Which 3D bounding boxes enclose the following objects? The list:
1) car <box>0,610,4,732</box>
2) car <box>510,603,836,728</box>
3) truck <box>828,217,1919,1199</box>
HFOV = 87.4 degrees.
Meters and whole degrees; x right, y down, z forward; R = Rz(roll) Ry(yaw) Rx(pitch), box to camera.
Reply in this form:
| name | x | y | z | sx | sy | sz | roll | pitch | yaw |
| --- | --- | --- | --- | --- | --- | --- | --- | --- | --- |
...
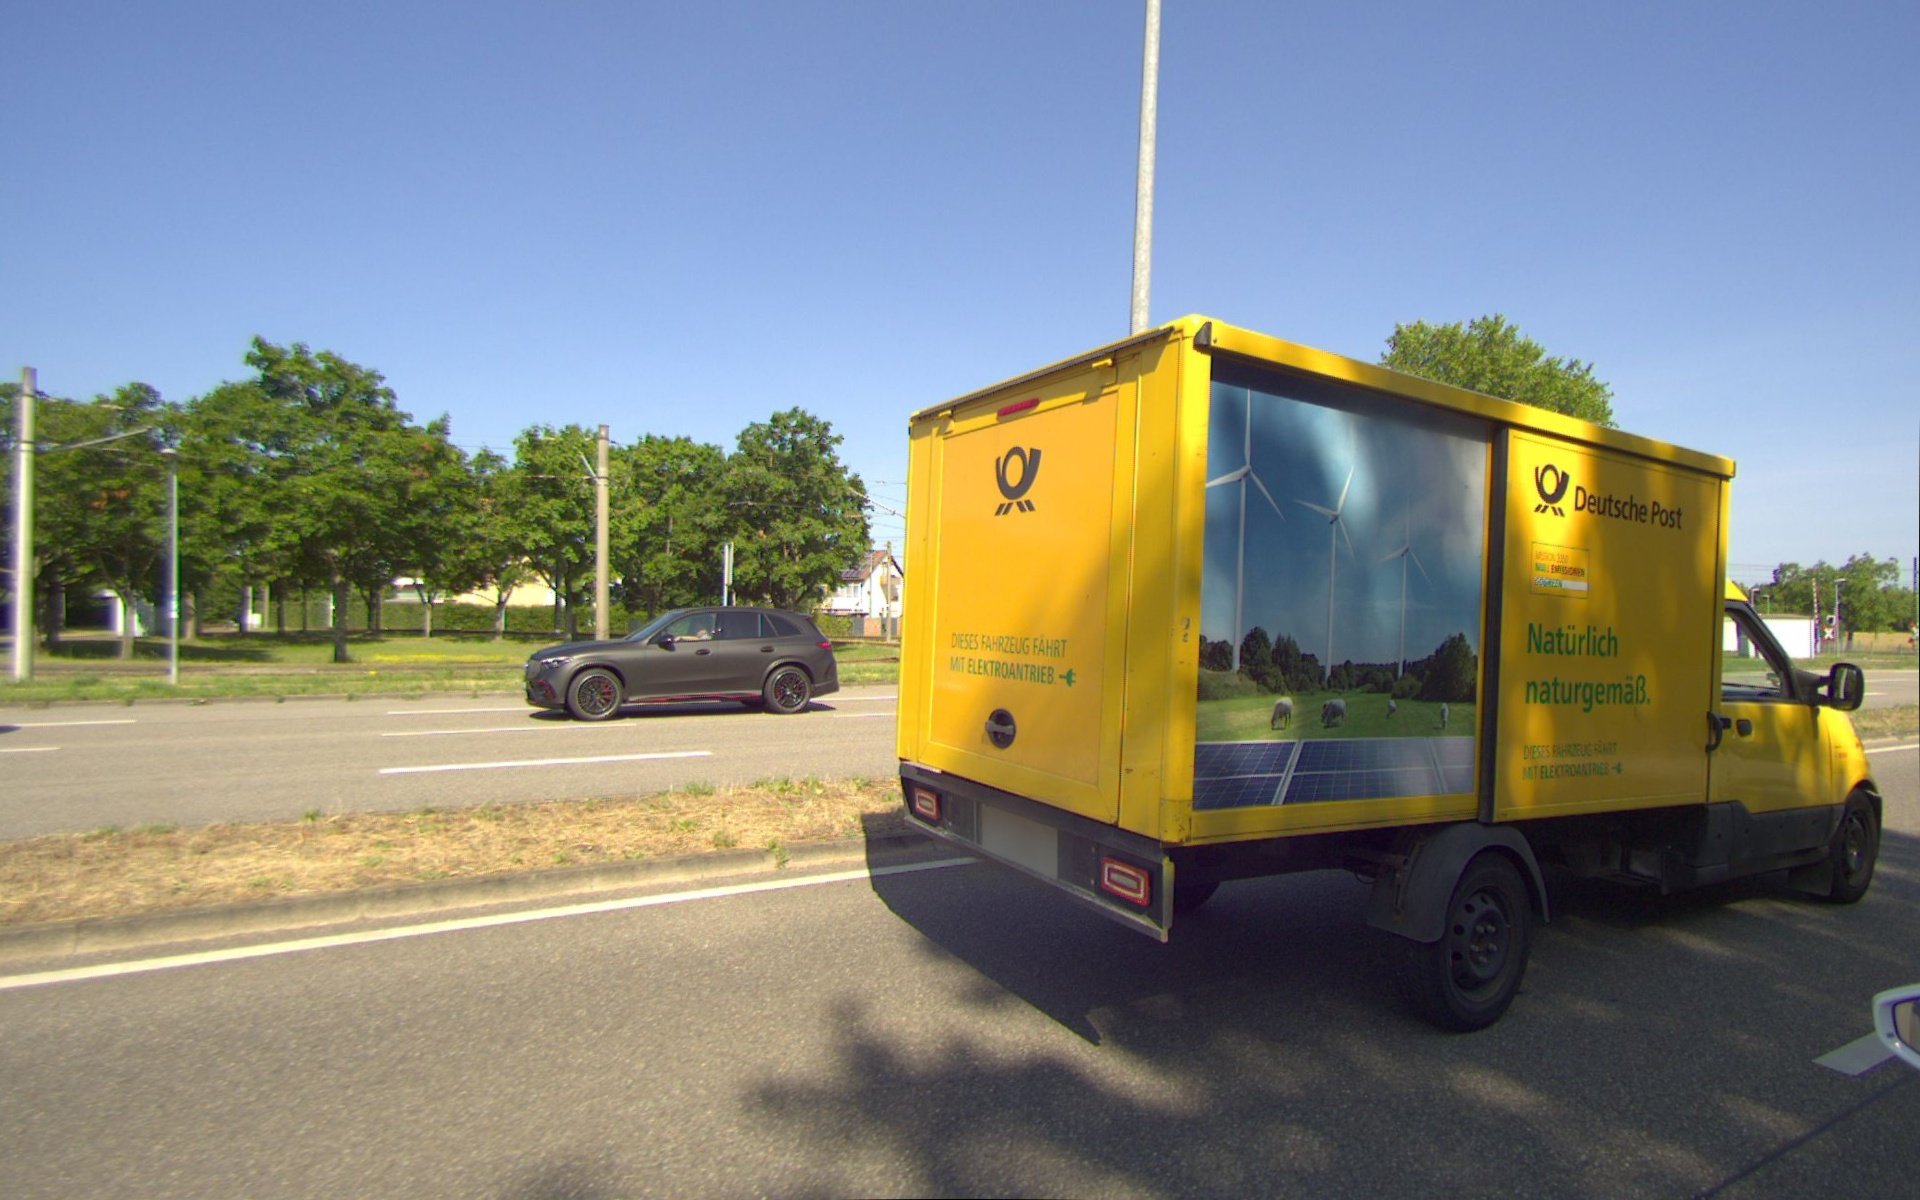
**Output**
| name | x | y | z | sx | sy | sz | roll | pitch | yaw |
| --- | --- | --- | --- | --- | --- | --- | --- | --- | --- |
| car | -13.165 | 0.807 | 10.372 | 4.418 | 1.485 | 1.822 | 2 | -1 | -31 |
| car | -4.375 | 0.942 | 15.504 | 4.502 | 1.682 | 1.973 | 1 | -1 | -31 |
| truck | 2.470 | 0.336 | 5.005 | 5.851 | 2.490 | 2.100 | 2 | 0 | -32 |
